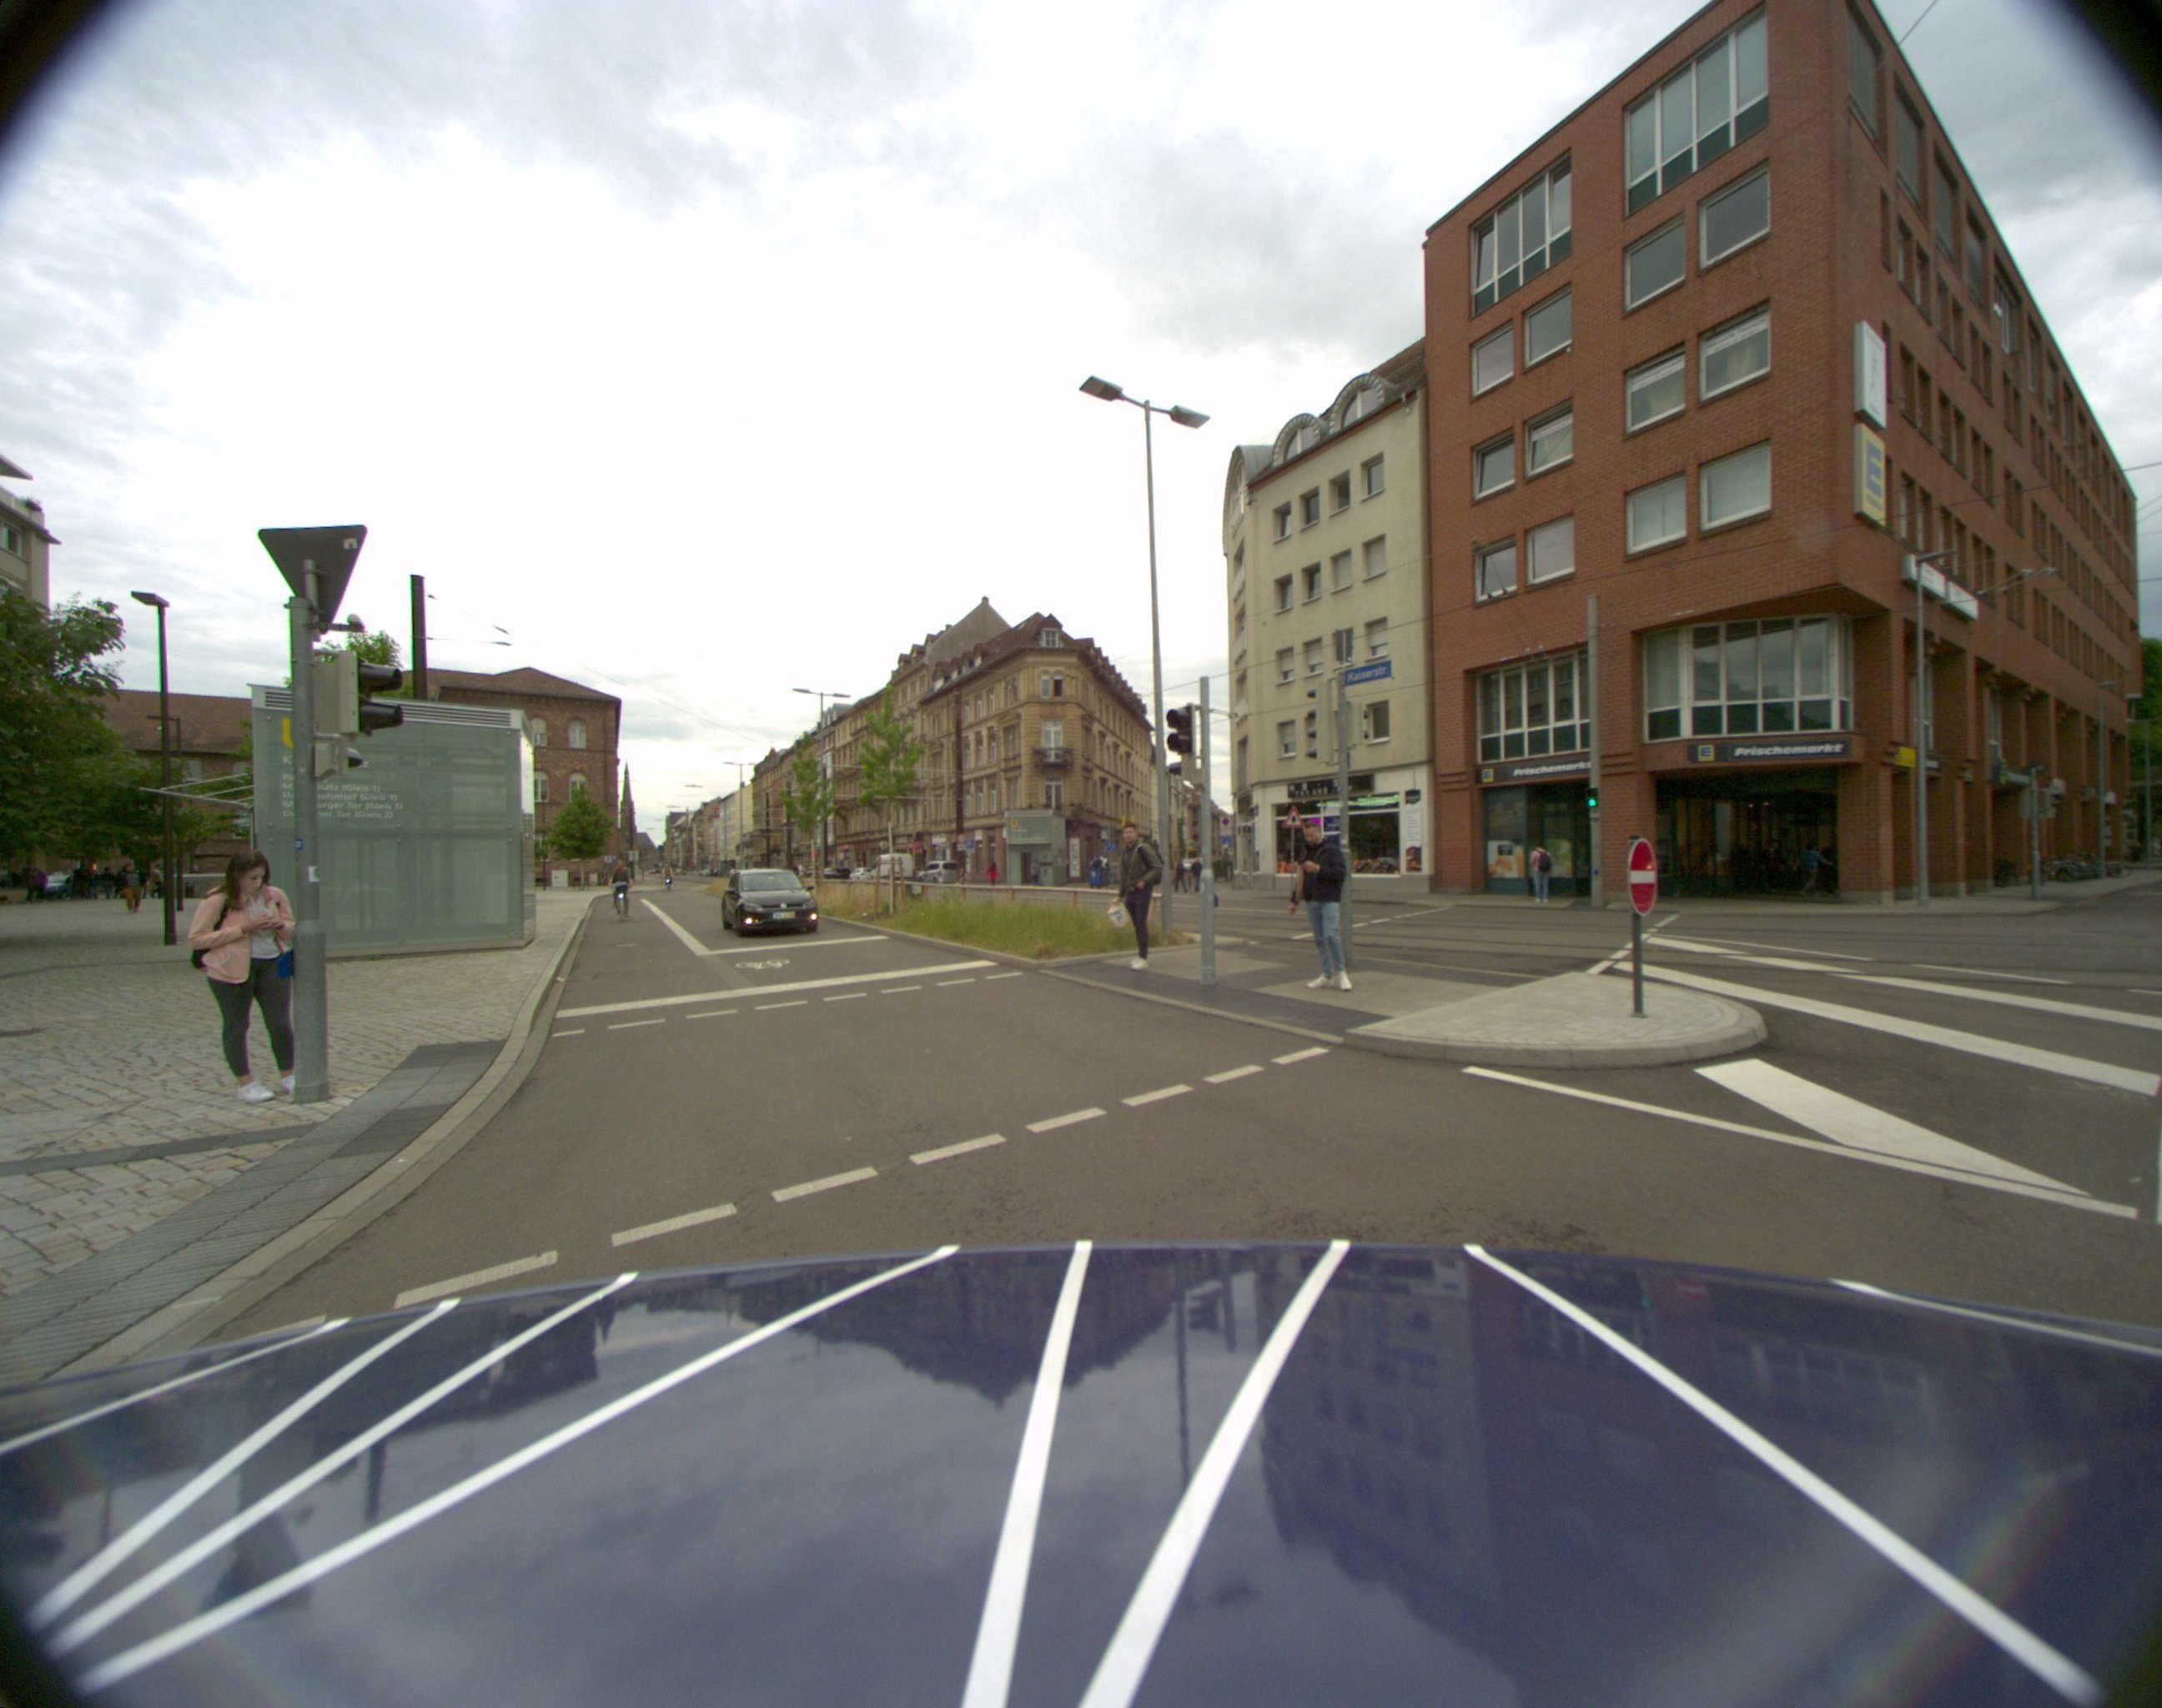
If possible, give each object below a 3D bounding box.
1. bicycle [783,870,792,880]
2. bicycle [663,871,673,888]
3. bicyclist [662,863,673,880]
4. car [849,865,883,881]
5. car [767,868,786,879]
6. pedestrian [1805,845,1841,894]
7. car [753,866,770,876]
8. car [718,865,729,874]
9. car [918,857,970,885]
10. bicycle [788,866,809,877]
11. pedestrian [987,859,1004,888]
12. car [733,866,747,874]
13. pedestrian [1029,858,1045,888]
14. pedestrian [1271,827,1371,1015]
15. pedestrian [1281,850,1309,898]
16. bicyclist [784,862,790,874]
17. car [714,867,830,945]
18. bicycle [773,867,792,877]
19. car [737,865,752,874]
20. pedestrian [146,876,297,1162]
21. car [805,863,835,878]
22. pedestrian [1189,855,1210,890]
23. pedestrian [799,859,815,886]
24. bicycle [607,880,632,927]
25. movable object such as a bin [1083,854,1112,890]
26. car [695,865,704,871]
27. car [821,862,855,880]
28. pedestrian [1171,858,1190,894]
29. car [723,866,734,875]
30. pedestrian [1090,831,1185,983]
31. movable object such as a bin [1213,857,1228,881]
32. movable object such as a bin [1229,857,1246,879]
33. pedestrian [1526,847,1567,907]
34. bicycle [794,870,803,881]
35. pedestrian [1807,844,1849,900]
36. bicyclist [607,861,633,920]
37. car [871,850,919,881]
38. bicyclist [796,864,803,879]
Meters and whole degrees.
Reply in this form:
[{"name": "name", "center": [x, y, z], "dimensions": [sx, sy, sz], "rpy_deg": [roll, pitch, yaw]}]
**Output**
[{"name": "bicycle", "center": [-32.215, 2.272, 83.328], "dimensions": [0.481, 1.015, 1.907], "rpy_deg": [-1, 0, -33]}, {"name": "bicycle", "center": [-29.032, 1.803, 53.365], "dimensions": [0.473, 1.151, 2.267], "rpy_deg": [-1, 0, -32]}, {"name": "bicyclist", "center": [-29.139, 1.238, 53.512], "dimensions": [0.588, 1.164, 0.661], "rpy_deg": [-1, 0, -32]}, {"name": "car", "center": [-19.555, 1.725, 69.114], "dimensions": [1.780, 1.414, 4.154], "rpy_deg": [2, -2, -33]}, {"name": "car", "center": [-42.952, 2.692, 106.966], "dimensions": [1.752, 1.524, 4.215], "rpy_deg": [0, -1, -32]}, {"name": "pedestrian", "center": [25.792, 0.525, 26.417], "dimensions": [0.747, 1.674, 0.797], "rpy_deg": [-3, 2, -36]}, {"name": "car", "center": [-48.492, 2.586, 115.295], "dimensions": [1.752, 1.479, 3.911], "rpy_deg": [0, -1, -31]}, {"name": "car", "center": [-75.864, 3.246, 161.059], "dimensions": [1.708, 1.662, 4.171], "rpy_deg": [-2, 1, -31]}, {"name": "car", "center": [-9.673, 1.170, 53.381], "dimensions": [1.912, 1.853, 4.509], "rpy_deg": [1, -1, -33]}, {"name": "bicycle", "center": [-34.947, 2.147, 94.033], "dimensions": [2.294, 1.321, 0.665], "rpy_deg": [1, -1, -31]}, {"name": "pedestrian", "center": [-5.128, 1.154, 45.557], "dimensions": [0.724, 1.677, 0.660], "rpy_deg": [-1, 2, -42]}, {"name": "car", "center": [-60.851, 2.853, 135.574], "dimensions": [1.833, 1.512, 4.534], "rpy_deg": [0, -2, -31]}, {"name": "pedestrian", "center": [-2.501, 1.081, 43.297], "dimensions": [0.825, 1.677, 0.722], "rpy_deg": [0, 1, -14]}, {"name": "pedestrian", "center": [2.546, 0.665, 8.076], "dimensions": [0.613, 1.879, 0.797], "rpy_deg": [-2, 1, -34]}, {"name": "pedestrian", "center": [7.602, 0.708, 27.041], "dimensions": [0.663, 1.677, 0.720], "rpy_deg": [-1, 2, -44]}, {"name": "bicyclist", "center": [-32.244, 1.537, 83.368], "dimensions": [0.481, 1.398, 0.810], "rpy_deg": [-1, 0, -33]}, {"name": "car", "center": [-7.208, 1.092, 17.531], "dimensions": [1.751, 1.538, 3.641], "rpy_deg": [-2, 0, -33]}, {"name": "bicycle", "center": [-40.696, 2.454, 103.471], "dimensions": [2.293, 1.196, 0.546], "rpy_deg": [-2, 0, -31]}, {"name": "car", "center": [-58.375, 2.695, 131.861], "dimensions": [1.752, 1.455, 4.036], "rpy_deg": [0, -1, -32]}, {"name": "pedestrian", "center": [-5.732, 1.033, 5.105], "dimensions": [0.525, 1.751, 0.600], "rpy_deg": [-3, 1, -39]}, {"name": "car", "center": [-29.034, 1.832, 84.469], "dimensions": [1.822, 1.679, 5.019], "rpy_deg": [0, -1, -35]}, {"name": "pedestrian", "center": [5.687, 0.882, 36.572], "dimensions": [0.662, 1.677, 0.922], "rpy_deg": [0, 1, -16]}, {"name": "pedestrian", "center": [-19.267, 1.326, 53.383], "dimensions": [0.874, 1.890, 0.771], "rpy_deg": [0, -1, -33]}, {"name": "bicycle", "center": [-13.384, 1.395, 22.051], "dimensions": [0.525, 1.253, 1.937], "rpy_deg": [-1, 0, -29]}, {"name": "movable object such as a bin", "center": [0.919, 0.973, 42.349], "dimensions": [1.036, 1.970, 1.613], "rpy_deg": [0, 1, -25]}, {"name": "car", "center": [-98.415, 3.614, 195.942], "dimensions": [1.872, 1.553, 3.990], "rpy_deg": [1, -1, -31]}, {"name": "car", "center": [-24.671, 1.703, 77.053], "dimensions": [1.929, 1.679, 5.040], "rpy_deg": [2, -2, -33]}, {"name": "pedestrian", "center": [4.743, 1.037, 36.223], "dimensions": [0.662, 1.677, 0.721], "rpy_deg": [0, 1, -16]}, {"name": "car", "center": [-70.685, 3.251, 152.404], "dimensions": [1.711, 1.746, 3.910], "rpy_deg": [0, -1, -30]}, {"name": "pedestrian", "center": [0.740, 0.648, 10.038], "dimensions": [0.901, 1.879, 0.797], "rpy_deg": [-3, 2, -34]}, {"name": "movable object such as a bin", "center": [9.168, 0.978, 49.965], "dimensions": [0.945, 1.492, 1.240], "rpy_deg": [-2, 1, 9]}, {"name": "movable object such as a bin", "center": [10.215, 0.930, 49.711], "dimensions": [1.009, 1.397, 1.240], "rpy_deg": [-2, 1, 9]}, {"name": "pedestrian", "center": [13.222, 0.641, 21.604], "dimensions": [0.799, 1.674, 0.570], "rpy_deg": [-2, 2, -3]}, {"name": "bicycle", "center": [-29.235, 2.216, 78.649], "dimensions": [0.478, 1.015, 1.907], "rpy_deg": [-1, 0, -33]}, {"name": "pedestrian", "center": [22.912, 0.531, 23.300], "dimensions": [0.747, 1.674, 0.797], "rpy_deg": [-3, 2, -36]}, {"name": "bicyclist", "center": [-13.347, 1.036, 22.017], "dimensions": [0.572, 1.674, 0.792], "rpy_deg": [-1, 1, -29]}, {"name": "car", "center": [-15.365, 0.960, 62.414], "dimensions": [2.063, 2.471, 5.652], "rpy_deg": [2, -2, -33]}, {"name": "bicyclist", "center": [-29.087, 1.779, 78.439], "dimensions": [0.493, 1.531, 0.810], "rpy_deg": [-1, 0, -33]}]
